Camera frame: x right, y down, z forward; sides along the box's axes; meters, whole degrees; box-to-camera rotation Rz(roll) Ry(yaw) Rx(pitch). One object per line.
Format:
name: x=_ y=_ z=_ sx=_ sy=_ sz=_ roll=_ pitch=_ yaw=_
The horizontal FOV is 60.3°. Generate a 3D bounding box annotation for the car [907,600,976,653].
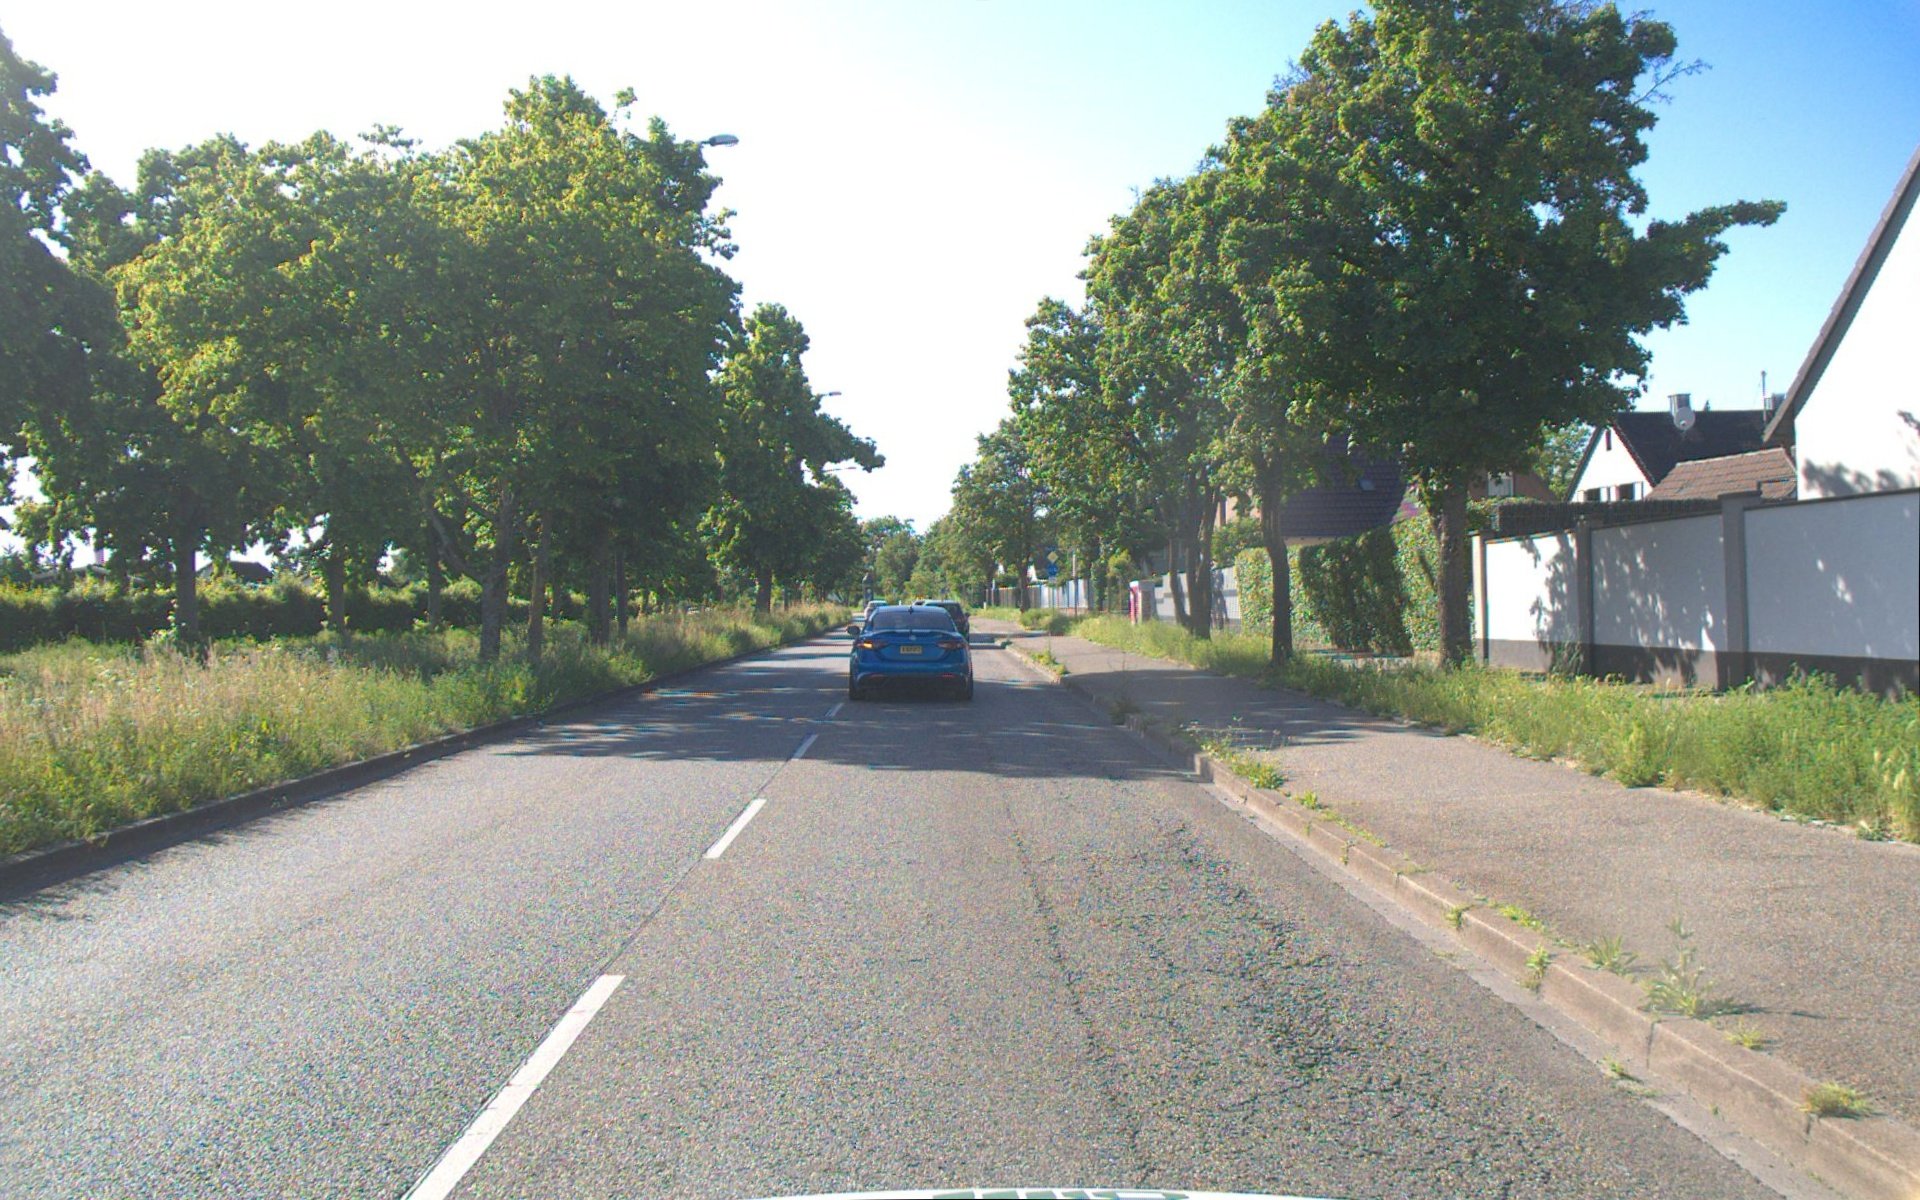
car: x=-0.650 y=0.822 z=53.263 sx=1.878 sy=1.607 sz=4.177 roll=-1 pitch=0 yaw=-5

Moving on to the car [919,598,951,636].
car: x=-1.402 y=0.958 z=94.789 sx=1.756 sy=2.049 sz=3.999 roll=-1 pitch=0 yaw=-1

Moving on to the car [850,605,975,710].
car: x=-0.686 y=0.856 z=26.081 sx=1.801 sy=1.500 sz=4.184 roll=1 pitch=-1 yaw=0

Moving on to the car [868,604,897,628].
car: x=-5.265 y=1.073 z=111.835 sx=1.877 sy=1.539 sz=4.065 roll=-1 pitch=0 yaw=-3
